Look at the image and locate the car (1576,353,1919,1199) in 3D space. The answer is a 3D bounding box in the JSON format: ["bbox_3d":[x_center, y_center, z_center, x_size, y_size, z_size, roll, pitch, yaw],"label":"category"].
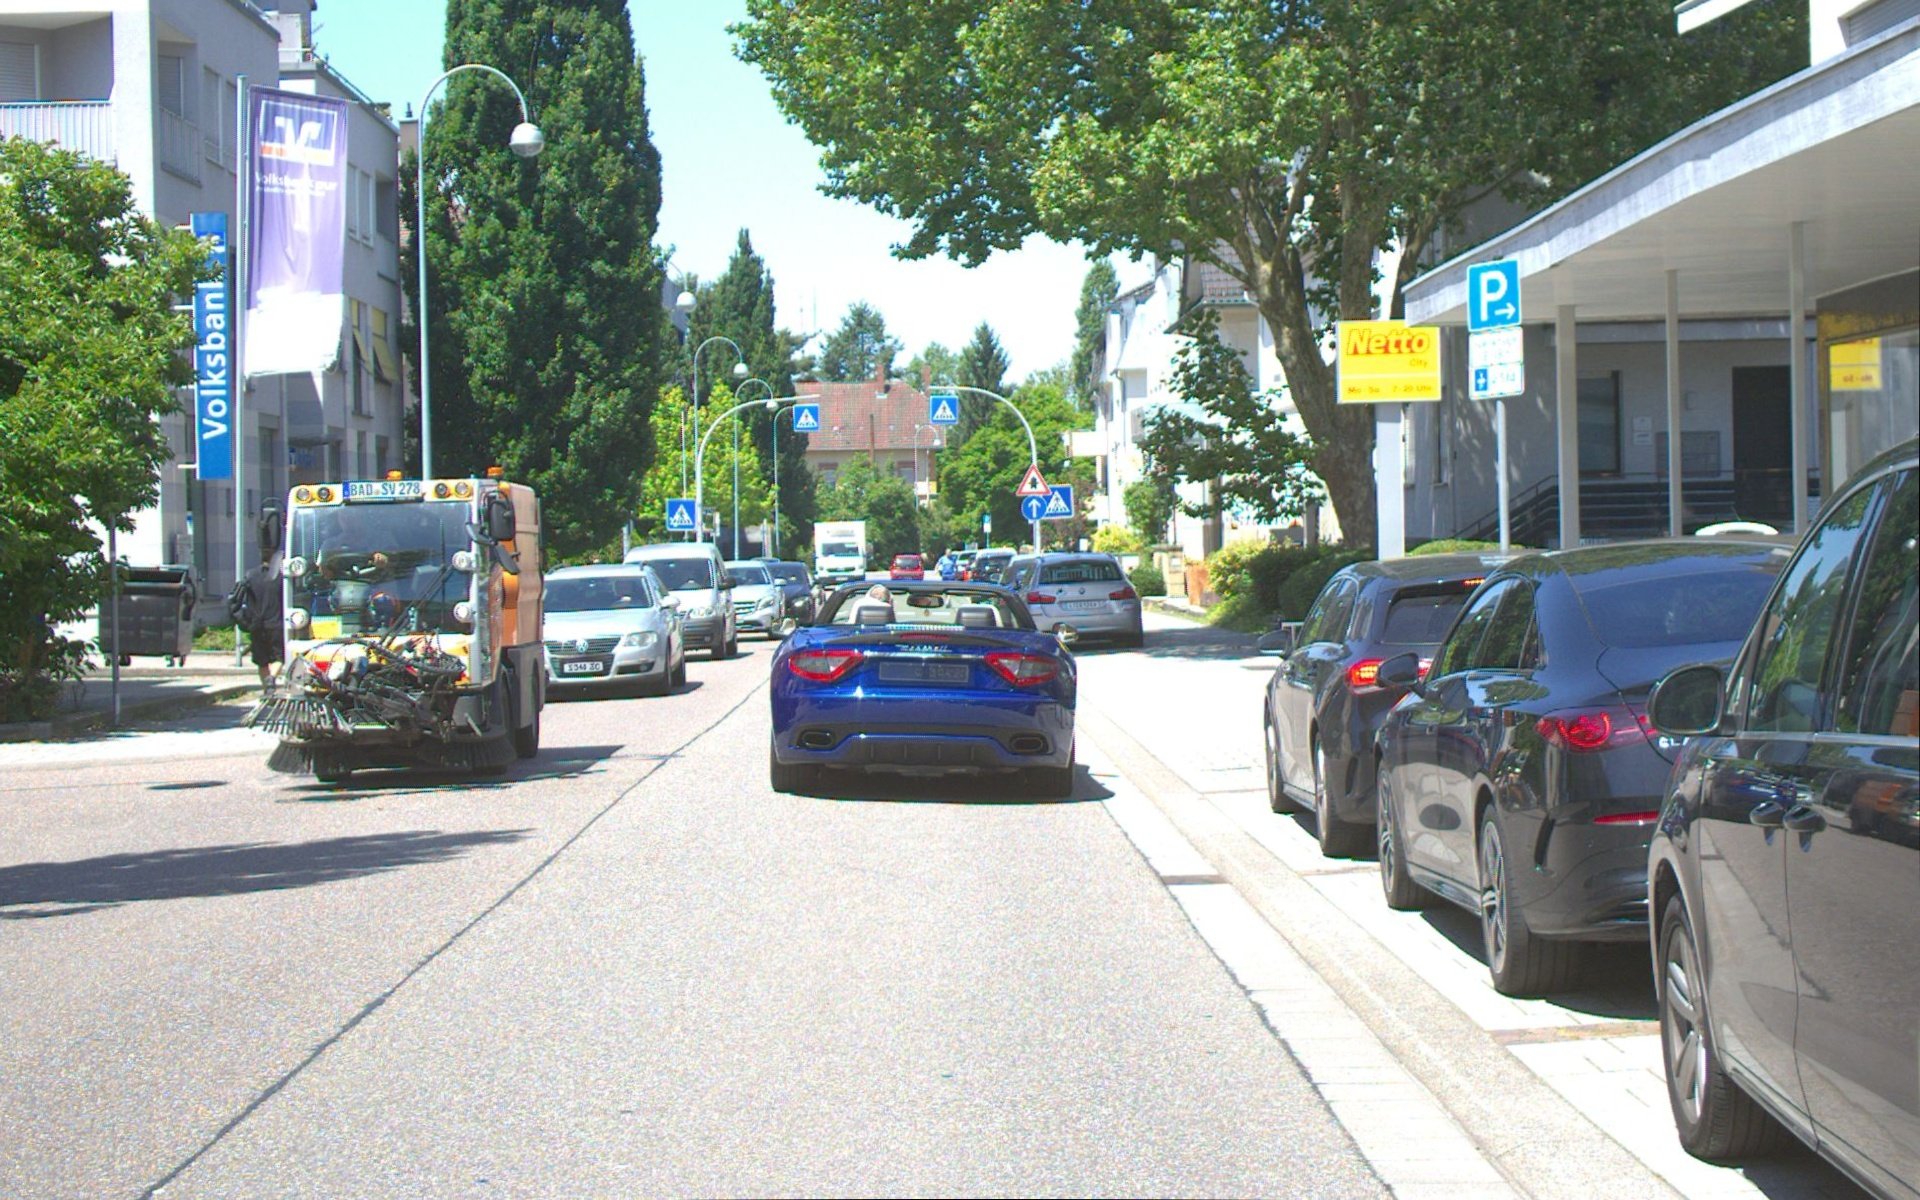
[{"bbox_3d":[2.555,0.424,6.493,1.993,1.792,4.569,-2,2,1],"label":"car"}]

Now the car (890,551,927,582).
[{"bbox_3d":[-2.552,-1.656,168.539,1.769,1.471,4.137,-1,0,-1],"label":"car"}]

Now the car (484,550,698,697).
[{"bbox_3d":[-4.162,0.224,39.495,1.949,1.503,4.797,-2,1,-1],"label":"car"}]

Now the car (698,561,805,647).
[{"bbox_3d":[-3.870,0.042,64.297,1.769,1.471,4.138,-2,1,-1],"label":"car"}]

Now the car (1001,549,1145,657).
[{"bbox_3d":[1.699,0.014,52.970,1.976,1.445,4.349,-3,2,0],"label":"car"}]

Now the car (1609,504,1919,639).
[{"bbox_3d":[9.995,-0.334,42.125,1.843,1.448,4.000,-4,0,-28],"label":"car"}]

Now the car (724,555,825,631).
[{"bbox_3d":[-3.900,-0.179,72.916,1.950,1.471,4.138,-2,1,-1],"label":"car"}]

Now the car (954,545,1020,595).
[{"bbox_3d":[0.844,-0.975,109.912,1.950,1.471,4.138,-2,1,-1],"label":"car"}]

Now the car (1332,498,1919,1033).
[{"bbox_3d":[2.583,0.464,12.404,1.894,1.525,4.569,-2,0,0],"label":"car"}]

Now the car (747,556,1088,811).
[{"bbox_3d":[-0.306,0.462,22.503,1.976,1.393,4.627,1,2,-1],"label":"car"}]

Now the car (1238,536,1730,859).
[{"bbox_3d":[2.583,0.437,17.908,1.845,1.409,4.163,-2,0,0],"label":"car"}]

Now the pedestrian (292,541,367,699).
[{"bbox_3d":[-6.819,0.223,37.214,0.631,1.685,0.961,1,-1,-1],"label":"pedestrian"}]

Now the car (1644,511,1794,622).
[{"bbox_3d":[11.097,-0.516,50.087,1.845,1.448,3.997,-4,0,16],"label":"car"}]

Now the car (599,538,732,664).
[{"bbox_3d":[-4.496,-0.027,53.008,1.769,1.761,4.138,-2,1,-2],"label":"car"}]

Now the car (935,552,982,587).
[{"bbox_3d":[-0.084,-1.384,154.980,1.950,1.471,4.138,-2,1,-1],"label":"car"}]

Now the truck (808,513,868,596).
[{"bbox_3d":[-5.406,-2.011,151.964,2.420,3.470,7.004,-2,1,-3],"label":"truck"}]

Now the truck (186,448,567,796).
[{"bbox_3d":[-3.923,0.085,23.880,1.804,2.110,4.715,-2,1,-1],"label":"truck"}]

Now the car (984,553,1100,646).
[{"bbox_3d":[1.521,-0.039,65.217,1.976,1.551,4.349,-3,2,0],"label":"car"}]

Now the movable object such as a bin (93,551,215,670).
[{"bbox_3d":[-10.944,0.136,46.722,1.356,1.489,1.297,-3,3,-4],"label":"movable object such as a bin"}]

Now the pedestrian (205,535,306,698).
[{"bbox_3d":[-7.616,0.182,37.189,0.885,1.743,0.818,1,-1,1],"label":"pedestrian"}]
